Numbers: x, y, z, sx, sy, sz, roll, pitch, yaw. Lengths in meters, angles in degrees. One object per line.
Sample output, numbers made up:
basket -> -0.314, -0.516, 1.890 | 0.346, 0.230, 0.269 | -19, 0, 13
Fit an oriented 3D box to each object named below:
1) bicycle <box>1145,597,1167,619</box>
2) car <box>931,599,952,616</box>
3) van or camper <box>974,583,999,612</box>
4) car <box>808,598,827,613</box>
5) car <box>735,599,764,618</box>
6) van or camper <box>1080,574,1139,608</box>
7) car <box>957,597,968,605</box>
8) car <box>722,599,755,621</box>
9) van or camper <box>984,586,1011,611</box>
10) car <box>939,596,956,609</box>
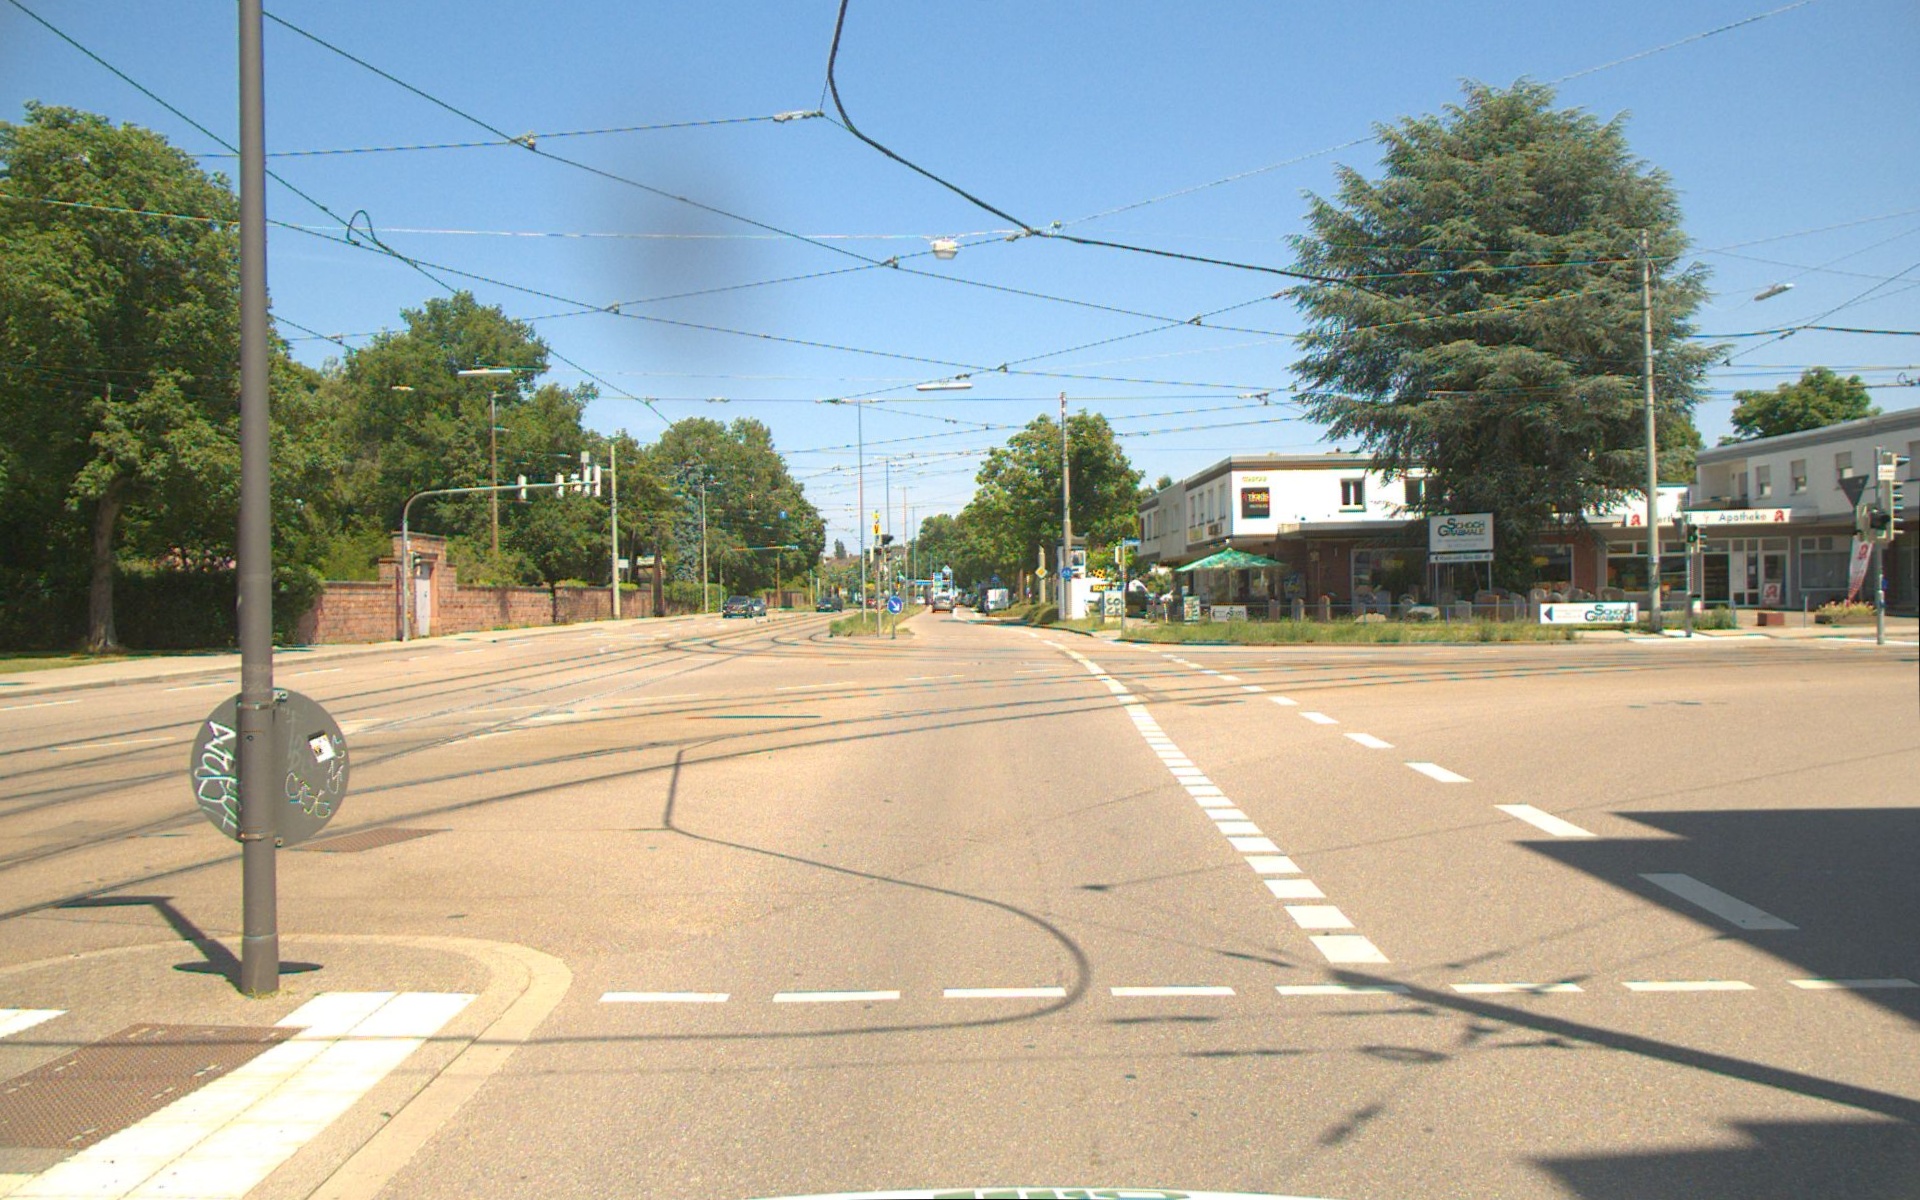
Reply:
bicycle -> 9.381, 0.374, 79.177 | 1.012, 1.032, 2.639 | -1, 0, 7
car -> -1.564, 0.622, 139.028 | 1.604, 1.375, 3.840 | -1, 0, -3
van or camper -> 2.305, -0.232, 147.275 | 1.954, 2.507, 3.998 | -1, 0, -3
car -> -14.323, 0.533, 166.662 | 1.608, 1.424, 4.115 | -1, 0, -1
car -> -16.895, 0.651, 133.088 | 1.607, 1.446, 4.169 | -1, 0, 2
van or camper -> 12.456, -0.729, 137.783 | 4.660, 2.717, 2.135 | -1, 0, -2
car -> 0.346, 0.177, 259.846 | 1.493, 1.319, 3.490 | -1, 0, -3
car -> -16.478, 0.735, 123.181 | 1.782, 1.631, 4.520 | -1, 0, 1
van or camper -> 2.819, -0.132, 124.784 | 1.883, 1.803, 4.000 | -1, 0, 0
car -> -1.374, 0.281, 182.896 | 1.638, 1.460, 3.471 | -1, 0, -5
